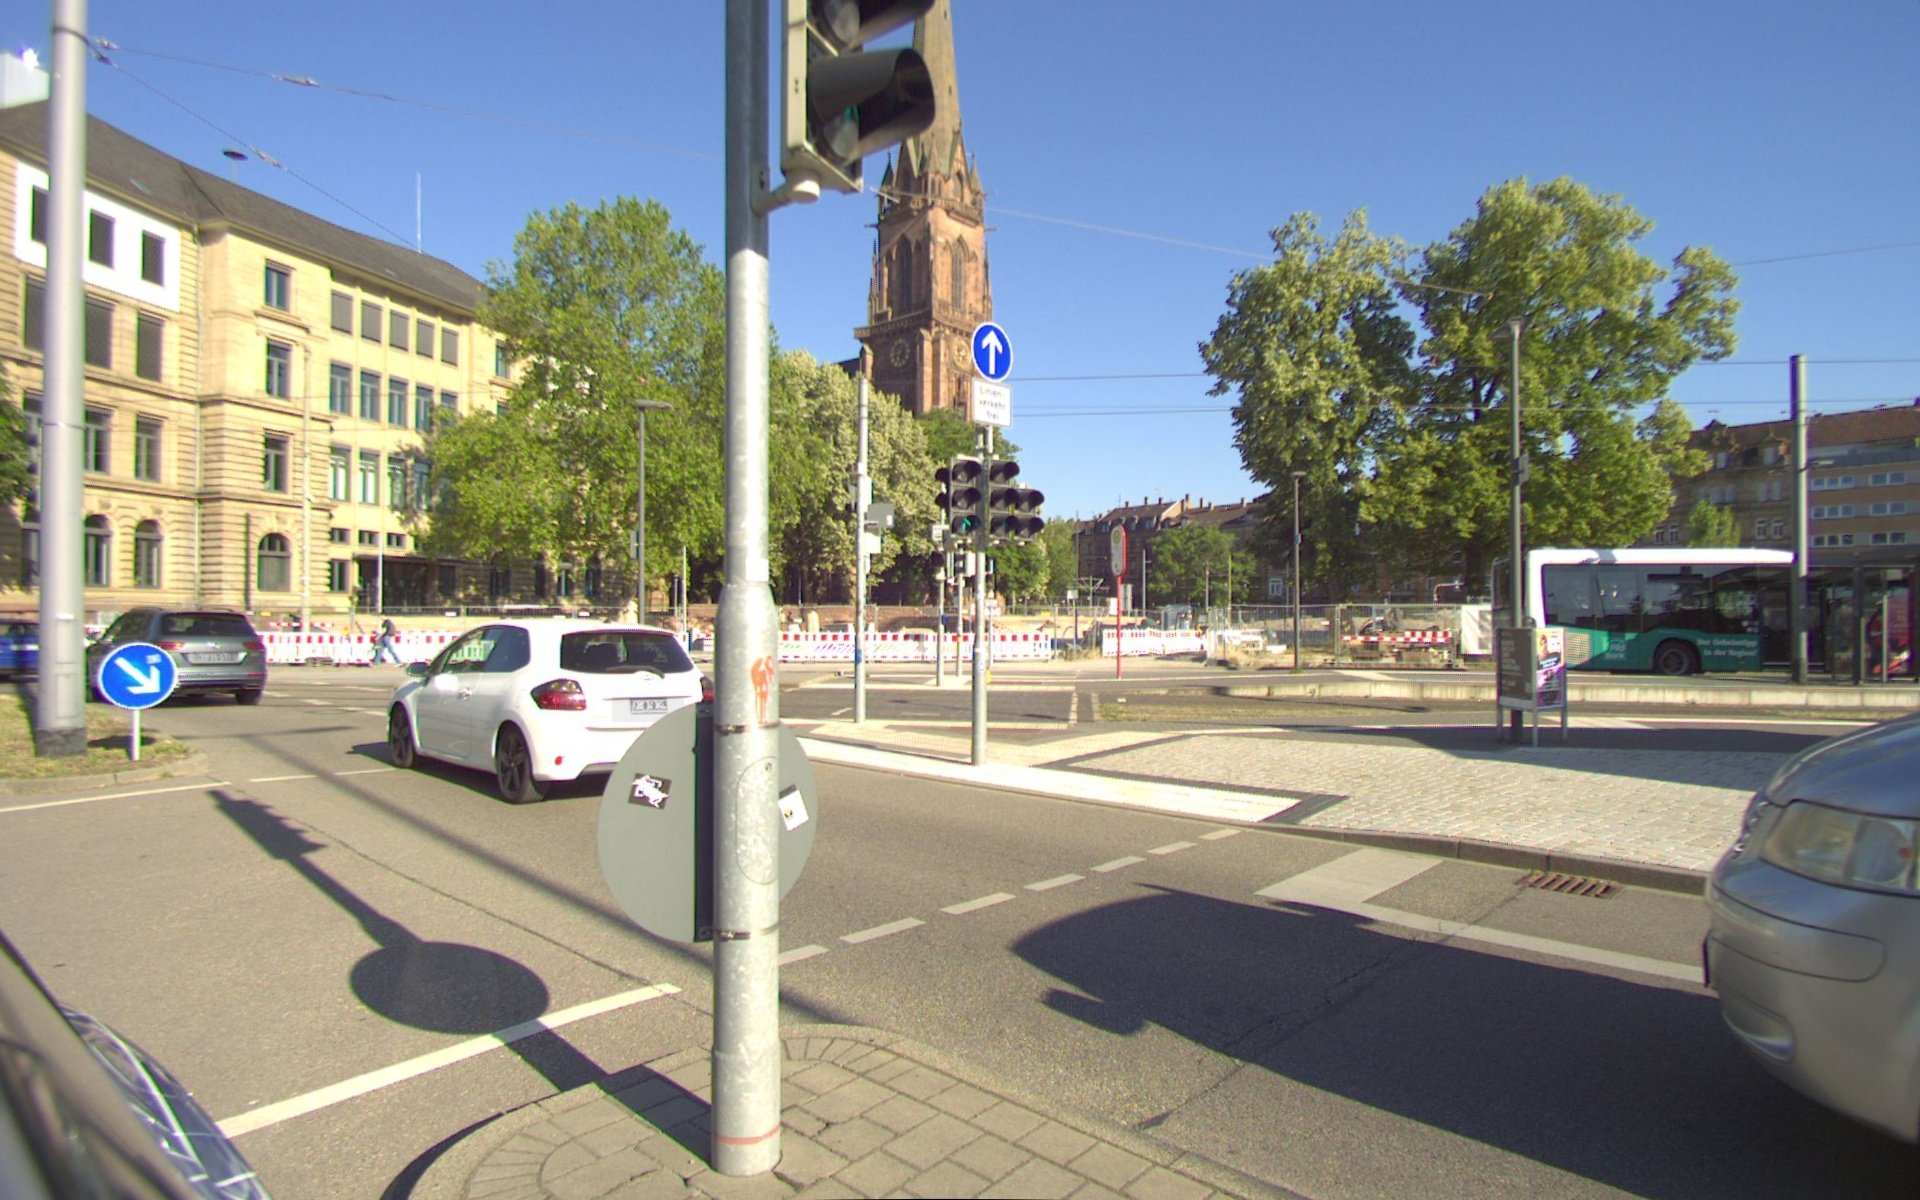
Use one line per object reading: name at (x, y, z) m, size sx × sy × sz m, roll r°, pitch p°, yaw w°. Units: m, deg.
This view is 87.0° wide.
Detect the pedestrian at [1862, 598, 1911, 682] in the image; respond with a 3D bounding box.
pedestrian at (19.795, 0.856, 21.627) m, size 0.554 × 1.762 × 0.537 m, roll 0°, pitch -2°, yaw 14°

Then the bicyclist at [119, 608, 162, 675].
bicyclist at (-20.703, 1.041, 25.561) m, size 0.743 × 1.670 × 0.701 m, roll -1°, pitch -2°, yaw 41°

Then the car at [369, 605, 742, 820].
car at (-3.886, 0.864, 9.386) m, size 3.980 × 1.572 × 1.676 m, roll -1°, pitch -2°, yaw 43°

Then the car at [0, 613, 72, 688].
car at (-22.199, 1.085, 23.001) m, size 3.907 × 1.586 × 1.725 m, roll 1°, pitch -3°, yaw 29°

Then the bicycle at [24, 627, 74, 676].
bicycle at (-24.905, 1.390, 27.652) m, size 2.455 × 1.260 × 0.667 m, roll -1°, pitch -4°, yaw 41°

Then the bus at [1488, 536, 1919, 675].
bus at (18.567, 0.115, 24.845) m, size 9.535 × 3.159 × 2.655 m, roll 0°, pitch 1°, yaw 10°

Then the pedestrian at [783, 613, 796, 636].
pedestrian at (-12.300, 1.788, 73.058) m, size 0.673 × 1.660 × 0.631 m, roll 0°, pitch -1°, yaw 31°

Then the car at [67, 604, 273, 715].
car at (-13.858, 0.972, 17.663) m, size 4.524 × 1.719 × 1.745 m, roll -1°, pitch -3°, yaw 38°

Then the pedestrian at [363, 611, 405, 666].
pedestrian at (-18.436, 1.242, 32.395) m, size 0.887 × 1.710 × 0.712 m, roll 2°, pitch -2°, yaw -7°

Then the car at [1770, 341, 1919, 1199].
car at (4.205, 0.438, 1.372) m, size 4.707 × 1.960 × 1.887 m, roll -1°, pitch -3°, yaw 44°

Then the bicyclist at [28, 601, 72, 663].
bicyclist at (-24.949, 0.874, 27.734) m, size 0.900 × 1.670 × 0.701 m, roll -1°, pitch -4°, yaw 41°
